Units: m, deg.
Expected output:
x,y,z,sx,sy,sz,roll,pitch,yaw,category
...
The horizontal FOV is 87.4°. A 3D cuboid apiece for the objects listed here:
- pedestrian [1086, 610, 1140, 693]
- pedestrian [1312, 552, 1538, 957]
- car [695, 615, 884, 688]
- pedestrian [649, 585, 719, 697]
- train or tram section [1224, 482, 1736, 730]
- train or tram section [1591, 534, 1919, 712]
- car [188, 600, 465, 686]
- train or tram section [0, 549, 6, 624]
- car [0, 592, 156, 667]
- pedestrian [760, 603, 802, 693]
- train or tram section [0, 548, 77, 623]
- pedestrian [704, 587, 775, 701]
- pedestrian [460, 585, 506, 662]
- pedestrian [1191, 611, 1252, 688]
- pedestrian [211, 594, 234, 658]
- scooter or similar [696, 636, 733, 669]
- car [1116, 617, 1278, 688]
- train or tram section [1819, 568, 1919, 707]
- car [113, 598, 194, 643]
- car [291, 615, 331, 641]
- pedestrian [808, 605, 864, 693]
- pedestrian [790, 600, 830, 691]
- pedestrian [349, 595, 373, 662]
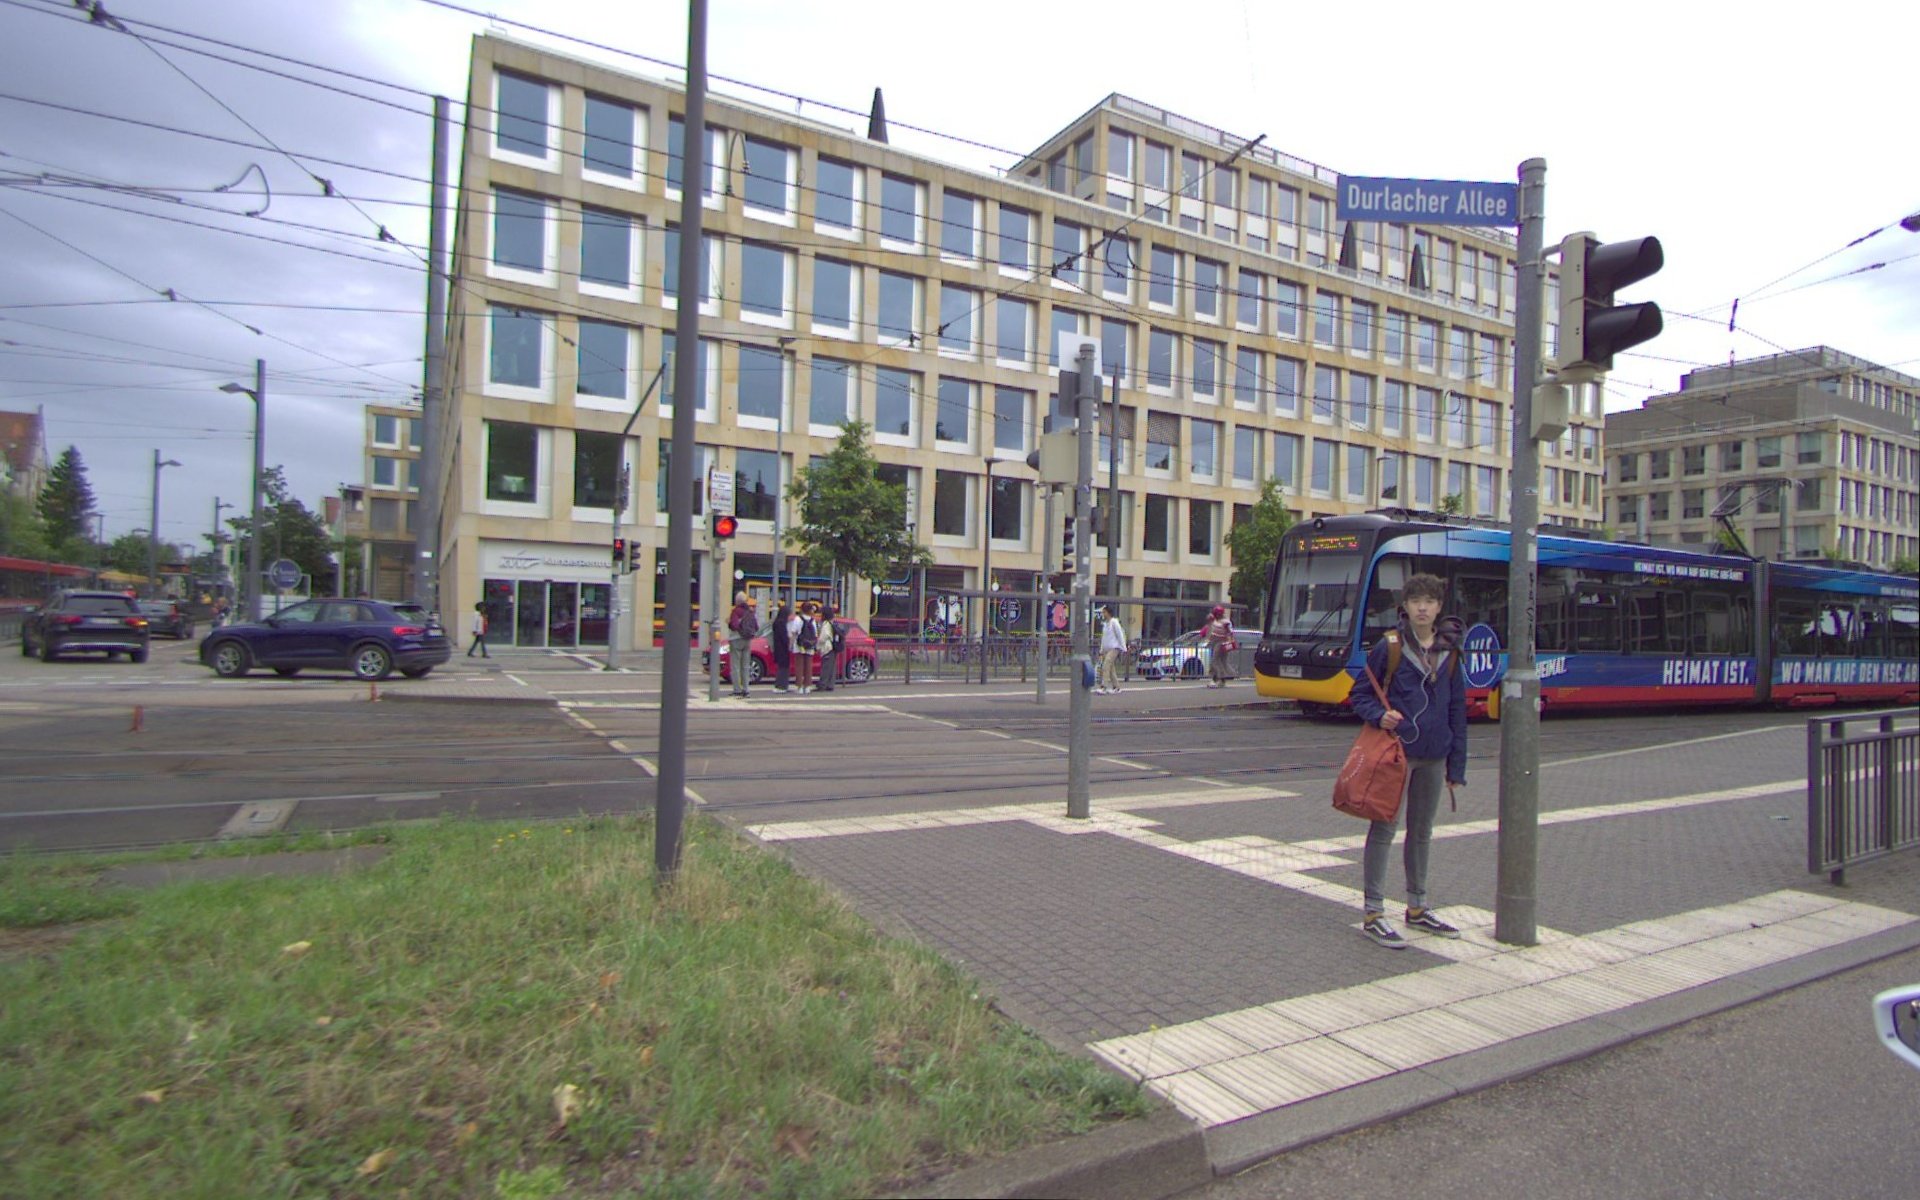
x,y,z,sx,sy,sz,roll,pitch,yaw,category
3.040,1.024,19.986,0.757,1.606,0.704,3,-2,-31,pedestrian
2.081,0.640,4.601,0.844,1.664,0.653,2,-2,20,pedestrian
-3.717,1.118,22.018,3.725,1.468,1.730,2,-1,-31,car
-4.846,0.709,17.674,0.839,1.892,0.747,1,-2,27,pedestrian
10.336,0.376,19.111,11.628,3.688,2.841,3,-2,-30,train or tram section
20.348,0.757,24.949,11.563,3.688,2.841,3,-2,-30,train or tram section
-12.421,0.833,19.924,4.283,1.514,1.744,2,-1,-3,car
-43.278,-0.748,41.345,2.574,3.560,14.000,3,-2,-31,train or tram section
-21.034,0.667,23.901,4.247,1.620,1.740,1,-1,33,car
-3.287,0.876,18.490,0.514,1.619,0.717,2,-1,6,pedestrian
-50.460,-0.701,53.426,2.574,3.560,14.000,3,-2,-31,train or tram section
-3.798,0.750,17.314,0.839,1.892,0.747,1,-2,27,pedestrian
-13.151,0.655,27.688,0.986,2.040,1.038,3,-2,-30,pedestrian
5.623,1.063,21.611,0.838,1.606,0.903,3,-2,-30,pedestrian
-21.261,0.743,28.951,0.457,1.817,0.411,3,-2,-39,pedestrian
-6.949,1.474,28.392,0.685,0.860,1.479,3,-1,-25,scooter or similar
6.421,1.421,27.175,3.953,1.761,1.984,3,-2,-30,car
31.238,1.321,31.052,13.363,3.740,2.841,3,-2,-30,train or tram section
-31.315,0.785,39.119,1.979,1.617,3.964,2,-1,-32,car
-39.612,1.698,61.335,1.700,1.439,3.271,2,-1,-27,car
-2.363,0.930,19.144,0.704,1.619,0.707,1,-2,34,pedestrian
-2.742,0.833,18.427,0.514,1.619,0.717,2,-1,6,pedestrian
-16.600,0.790,27.846,0.457,1.817,0.411,3,-2,-39,pedestrian
